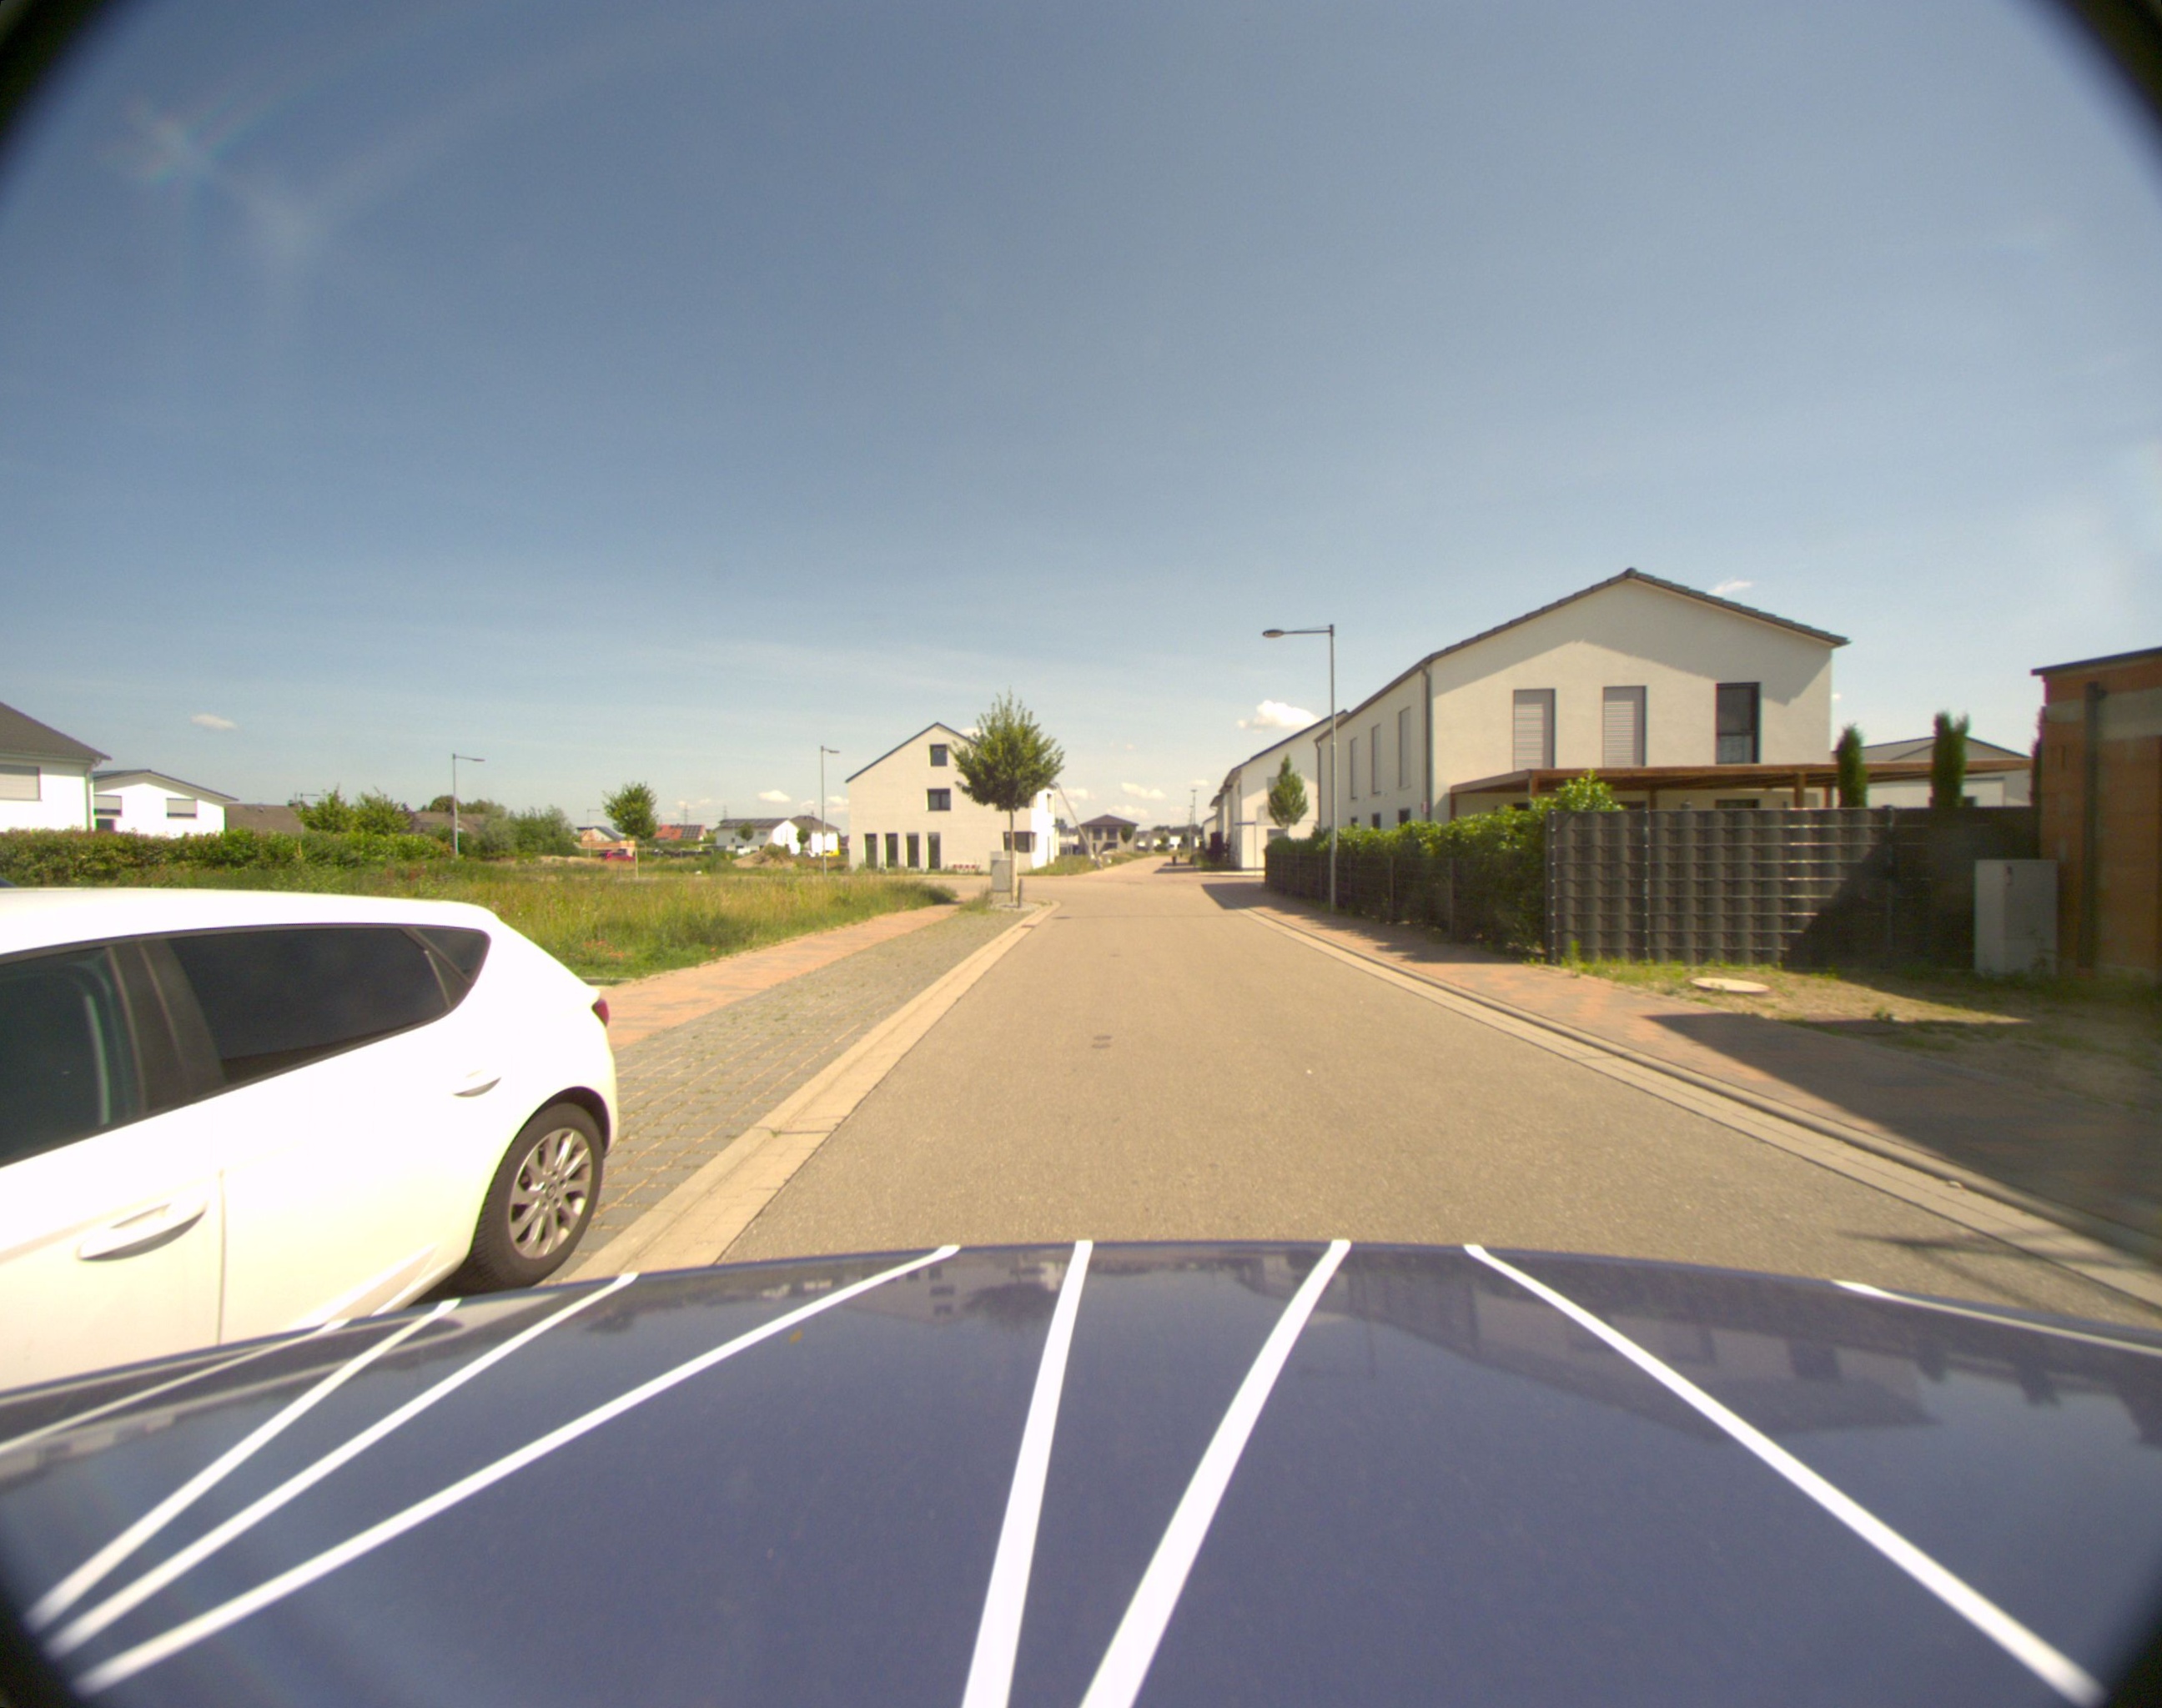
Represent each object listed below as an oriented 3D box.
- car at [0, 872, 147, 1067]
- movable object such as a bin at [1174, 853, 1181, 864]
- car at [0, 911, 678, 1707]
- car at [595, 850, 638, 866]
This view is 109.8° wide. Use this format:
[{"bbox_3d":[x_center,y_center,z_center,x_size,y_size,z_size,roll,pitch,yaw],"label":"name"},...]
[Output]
[{"bbox_3d":[-10.602,0.836,5.661,4.899,1.417,2.000,2,1,1],"label":"car"},{"bbox_3d":[8.457,0.418,66.875,0.597,0.916,0.462,-1,1,9],"label":"movable object such as a bin"},{"bbox_3d":[-2.772,1.018,1.232,1.819,1.447,4.563,1,1,0],"label":"car"},{"bbox_3d":[-49.657,0.393,81.309,1.807,1.607,4.002,0,1,8],"label":"car"}]
